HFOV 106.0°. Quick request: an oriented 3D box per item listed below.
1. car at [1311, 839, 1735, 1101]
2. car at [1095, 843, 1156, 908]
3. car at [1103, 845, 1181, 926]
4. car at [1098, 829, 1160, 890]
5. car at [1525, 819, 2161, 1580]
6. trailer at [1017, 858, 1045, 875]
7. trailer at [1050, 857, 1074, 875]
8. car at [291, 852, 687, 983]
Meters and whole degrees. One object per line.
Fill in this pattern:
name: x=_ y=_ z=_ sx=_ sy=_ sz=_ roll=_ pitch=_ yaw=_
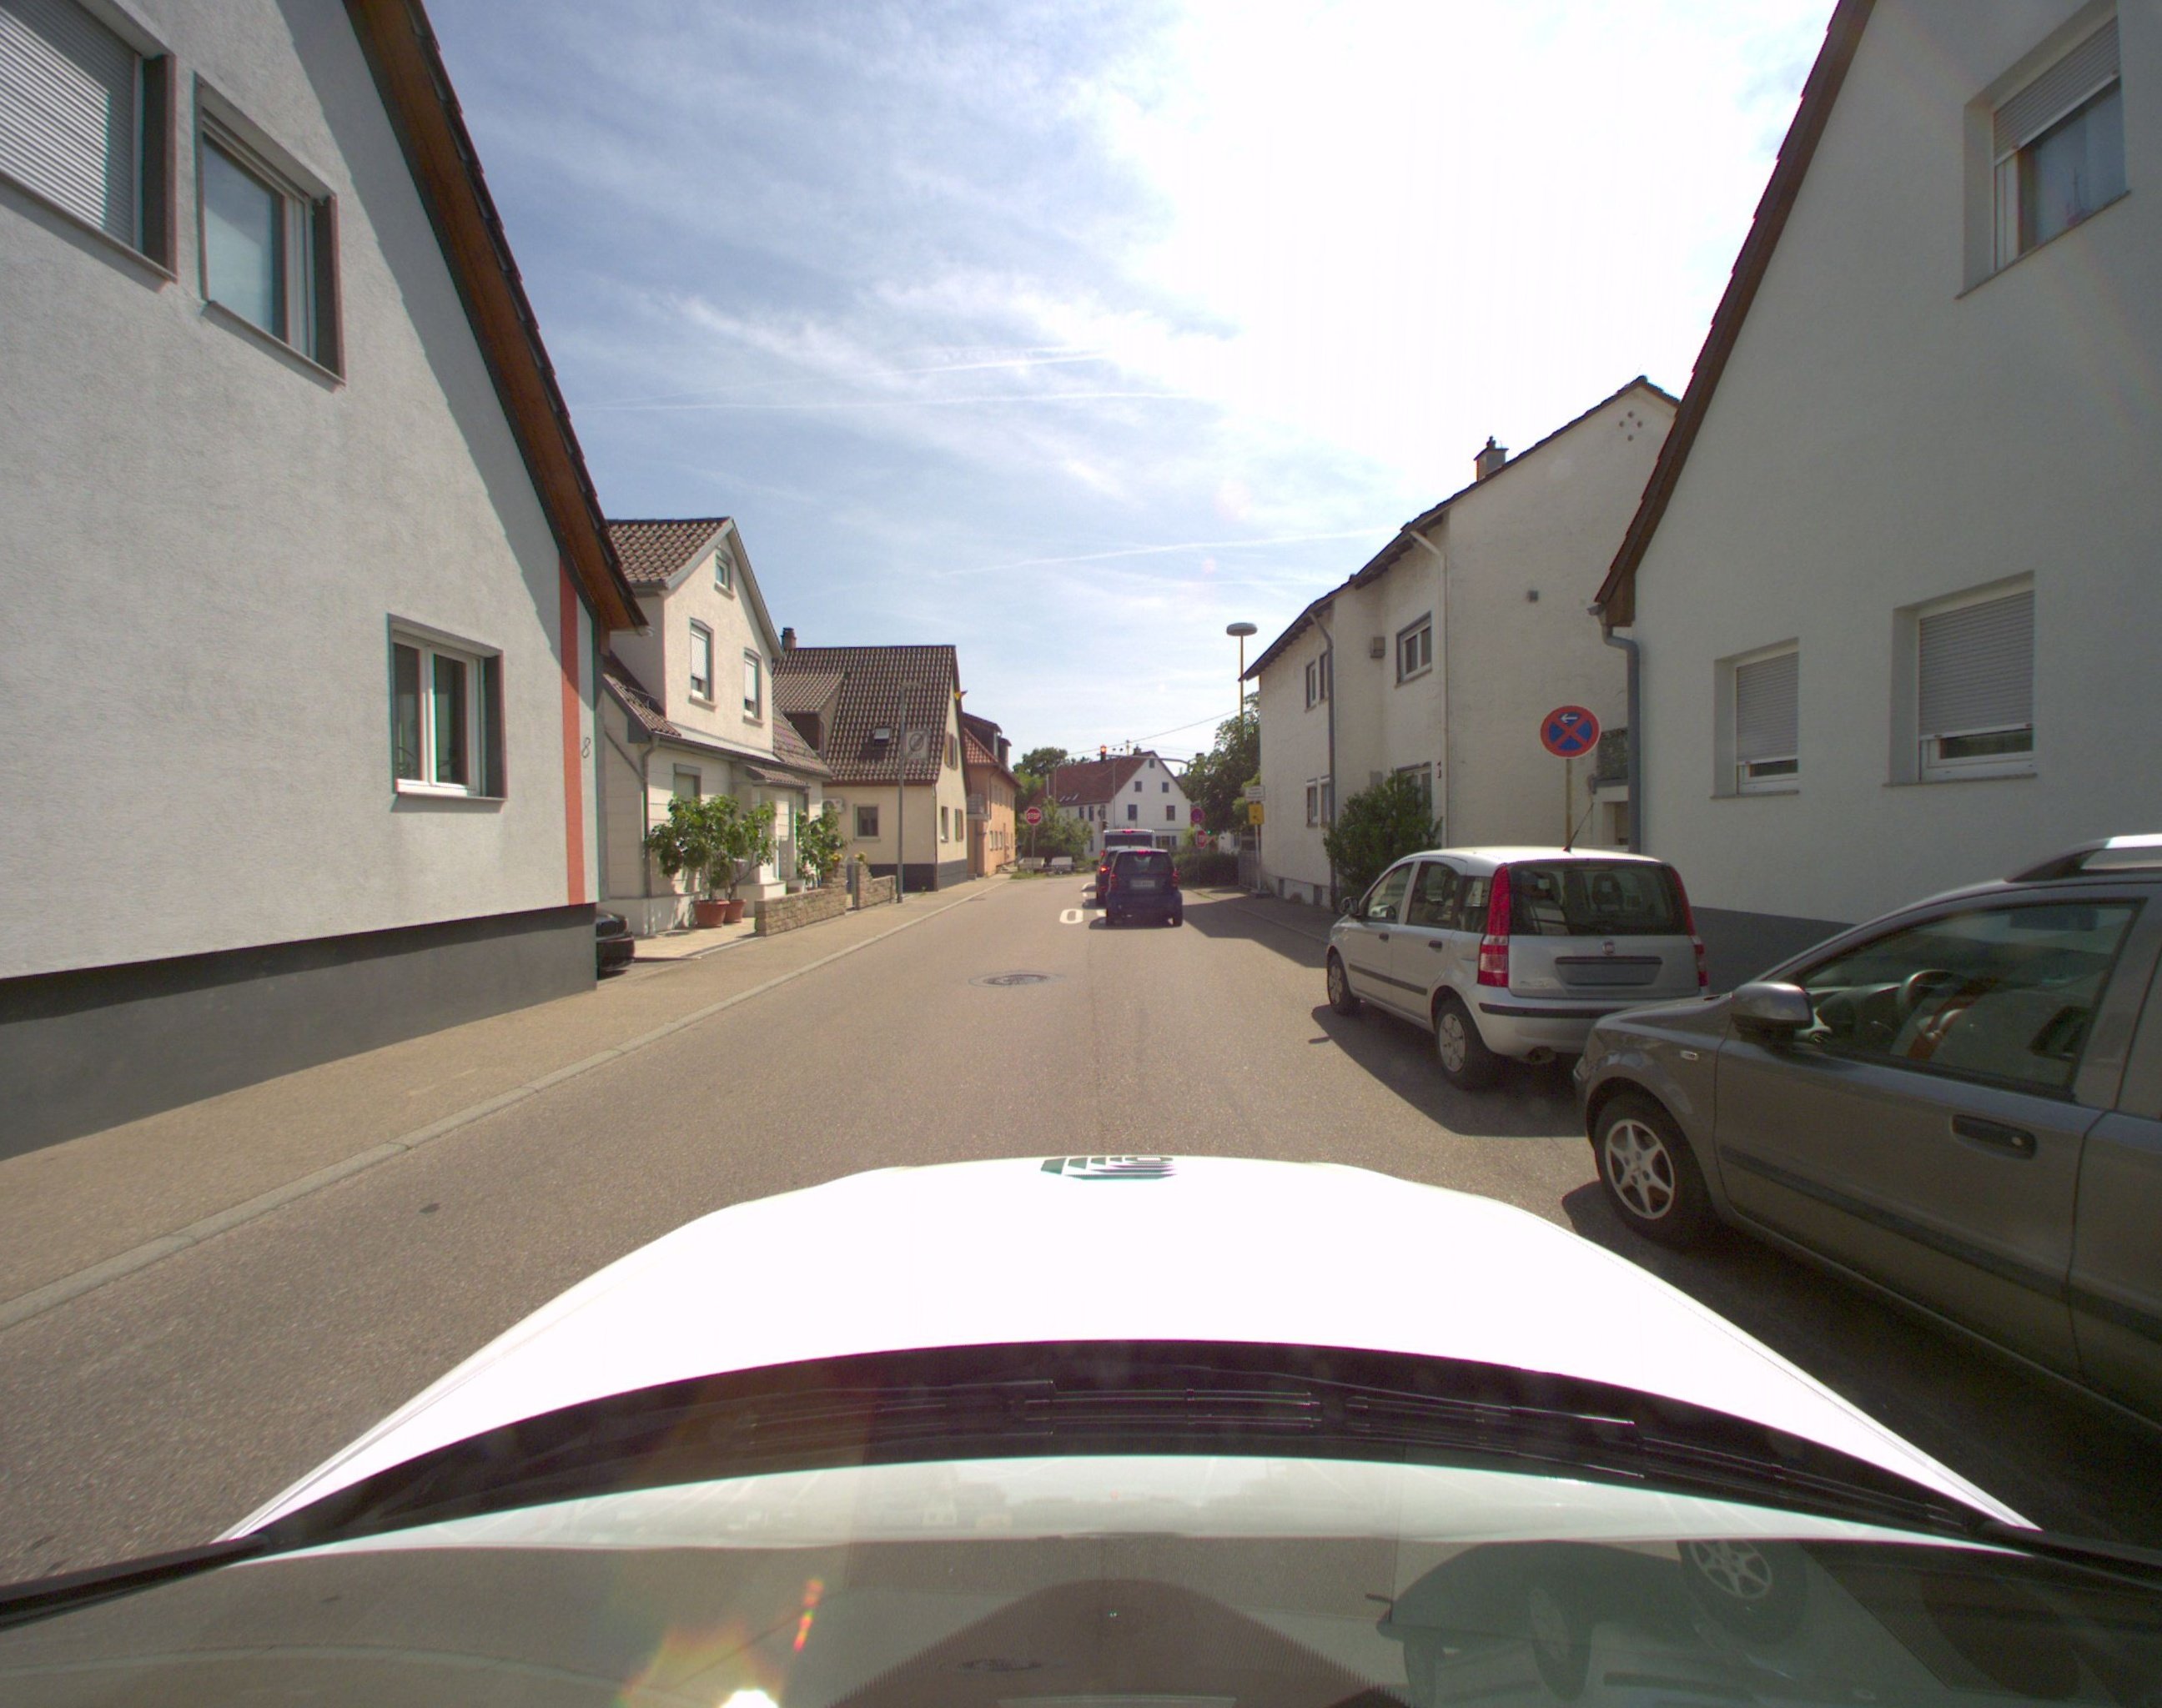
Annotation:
car: x=3.047 y=0.662 z=6.407 sx=1.494 sy=1.513 sz=3.360 roll=0 pitch=0 yaw=-1
car: x=1.230 y=0.530 z=22.215 sx=1.509 sy=1.624 sz=3.187 roll=-1 pitch=0 yaw=4
car: x=1.291 y=0.605 z=17.471 sx=1.509 sy=1.567 sz=3.187 roll=0 pitch=0 yaw=4
car: x=1.928 y=0.177 z=31.285 sx=2.118 sy=2.158 sz=4.744 roll=-1 pitch=0 yaw=6
car: x=2.956 y=0.697 z=2.197 sx=1.563 sy=1.545 sz=3.446 roll=0 pitch=0 yaw=-2
trailer: x=-2.895 y=0.694 z=47.089 sx=1.496 sy=0.927 sz=1.013 roll=2 pitch=0 yaw=1
trailer: x=-1.087 y=0.684 z=46.860 sx=1.306 sy=0.970 sz=0.934 roll=-1 pitch=0 yaw=1
car: x=-7.389 y=0.751 z=10.414 sx=3.821 sy=1.481 sz=1.703 roll=-1 pitch=0 yaw=3
